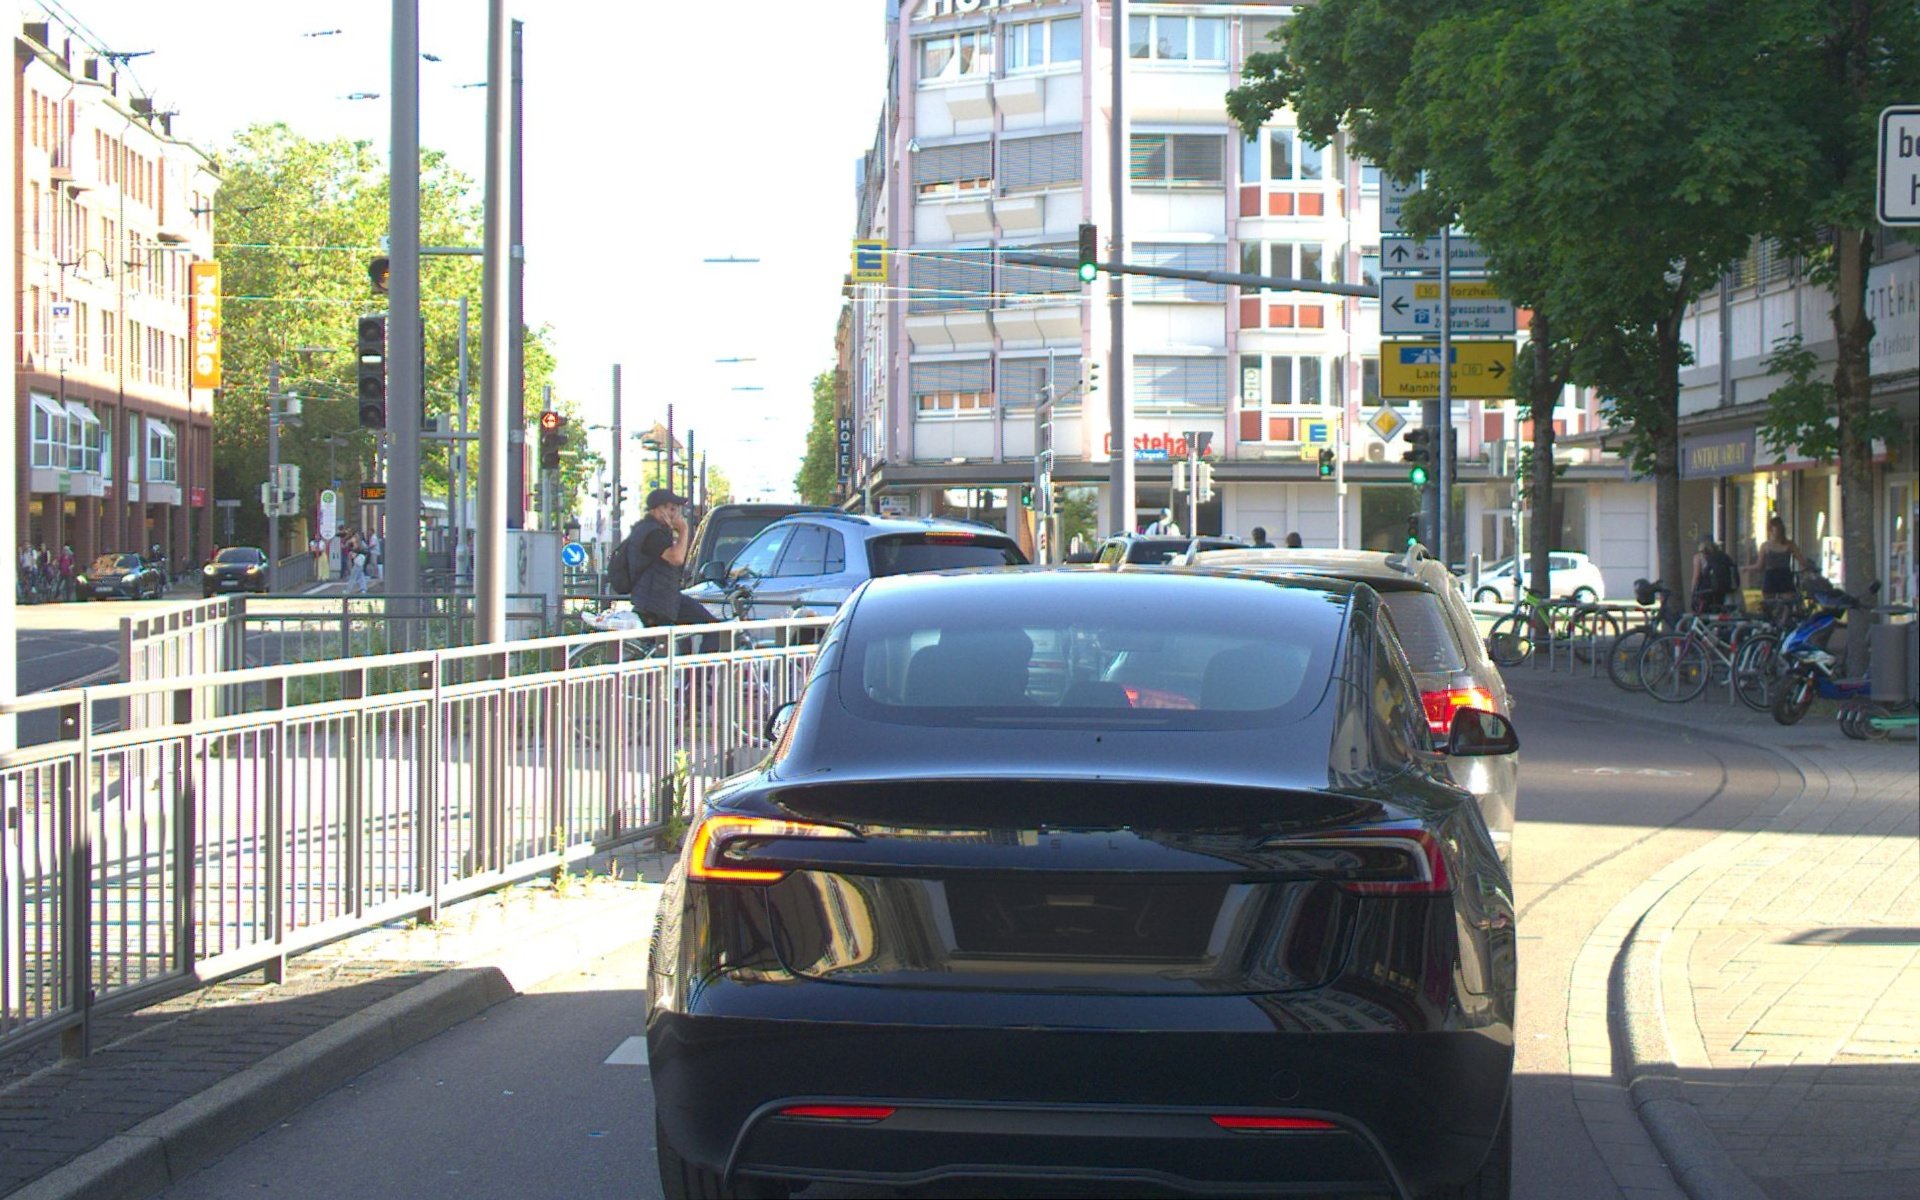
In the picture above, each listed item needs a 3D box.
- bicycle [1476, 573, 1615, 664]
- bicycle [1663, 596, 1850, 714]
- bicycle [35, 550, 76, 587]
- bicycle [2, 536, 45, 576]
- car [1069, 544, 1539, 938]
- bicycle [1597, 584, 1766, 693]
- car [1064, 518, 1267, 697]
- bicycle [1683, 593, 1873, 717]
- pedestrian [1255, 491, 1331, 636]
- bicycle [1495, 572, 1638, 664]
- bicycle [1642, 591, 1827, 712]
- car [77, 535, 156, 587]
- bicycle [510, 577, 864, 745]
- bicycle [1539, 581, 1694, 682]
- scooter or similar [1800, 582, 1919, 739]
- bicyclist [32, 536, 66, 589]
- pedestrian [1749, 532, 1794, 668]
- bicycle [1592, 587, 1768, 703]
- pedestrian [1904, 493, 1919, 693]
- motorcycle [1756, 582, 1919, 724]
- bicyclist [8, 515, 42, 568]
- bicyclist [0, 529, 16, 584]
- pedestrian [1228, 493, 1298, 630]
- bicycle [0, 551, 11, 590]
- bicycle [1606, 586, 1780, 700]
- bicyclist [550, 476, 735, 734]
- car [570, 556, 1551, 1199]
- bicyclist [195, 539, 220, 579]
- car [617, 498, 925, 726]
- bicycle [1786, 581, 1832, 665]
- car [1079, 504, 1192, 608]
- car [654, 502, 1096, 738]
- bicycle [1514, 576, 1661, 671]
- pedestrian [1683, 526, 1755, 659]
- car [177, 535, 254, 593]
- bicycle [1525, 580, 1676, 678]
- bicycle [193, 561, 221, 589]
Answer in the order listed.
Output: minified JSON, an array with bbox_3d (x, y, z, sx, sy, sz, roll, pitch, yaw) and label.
[{"bbox_3d":[7.228,0.224,42.476,1.650,1.095,0.350,1,0,1],"label":"bicycle"},{"bbox_3d":[7.282,0.506,31.445,1.649,1.057,0.350,1,0,-10],"label":"bicycle"},{"bbox_3d":[-27.200,-0.961,103.413,0.529,1.085,2.284,1,1,1],"label":"bicycle"},{"bbox_3d":[-27.349,-1.276,100.415,0.529,1.085,2.284,4,-1,1],"label":"bicycle"},{"bbox_3d":[1.501,0.498,15.012,1.751,1.449,3.999,1,1,6],"label":"car"},{"bbox_3d":[7.414,0.393,35.344,1.650,1.095,0.350,1,0,1],"label":"bicycle"},{"bbox_3d":[2.125,0.053,36.431,1.598,1.772,3.981,1,1,-4],"label":"car"},{"bbox_3d":[7.379,0.500,31.023,1.649,1.095,0.350,1,0,-10],"label":"bicycle"},{"bbox_3d":[4.671,-0.507,48.280,0.921,2.007,0.972,1,0,-1],"label":"pedestrian"},{"bbox_3d":[7.295,0.215,41.382,1.650,1.095,0.350,0,1,1],"label":"bicycle"},{"bbox_3d":[7.177,0.480,31.869,1.649,1.095,0.350,1,0,-10],"label":"bicycle"},{"bbox_3d":[-25.197,-1.166,102.801,1.710,1.521,4.037,1,1,-5],"label":"car"},{"bbox_3d":[-1.764,0.386,22.502,2.329,1.050,0.631,0,1,-38],"label":"bicycle"},{"bbox_3d":[7.306,0.346,38.296,1.650,1.095,0.350,1,0,1],"label":"bicycle"},{"bbox_3d":[7.553,0.476,27.185,1.644,1.211,0.644,1,0,30],"label":"scooter or similar"},{"bbox_3d":[-27.238,-1.124,102.798,0.784,1.558,0.746,0,1,2],"label":"bicyclist"},{"bbox_3d":[10.281,-0.002,43.562,0.526,1.704,0.403,1,0,13],"label":"pedestrian"},{"bbox_3d":[6.996,0.437,33.396,1.649,1.095,0.350,1,0,-10],"label":"bicycle"},{"bbox_3d":[9.986,-0.069,34.833,0.662,2.007,0.579,1,0,2],"label":"pedestrian"},{"bbox_3d":[7.709,0.447,29.259,1.707,1.169,0.541,1,0,-2],"label":"motorcycle"},{"bbox_3d":[-27.372,-1.708,100.634,0.784,1.558,0.746,0,1,2],"label":"bicyclist"},{"bbox_3d":[-27.333,-1.249,97.700,0.784,1.558,0.746,1,0,-2],"label":"bicyclist"},{"bbox_3d":[4.514,-0.572,51.310,0.921,2.007,0.972,1,0,-1],"label":"pedestrian"},{"bbox_3d":[-27.354,-0.835,97.147,0.537,1.085,2.225,1,1,-2],"label":"bicycle"},{"bbox_3d":[7.242,0.424,33.963,1.649,1.095,0.350,1,0,-10],"label":"bicycle"},{"bbox_3d":[-2.057,0.024,22.215,0.758,1.623,0.978,0,1,-39],"label":"bicyclist"},{"bbox_3d":[0.330,0.638,8.454,1.829,1.450,3.999,1,1,4],"label":"car"},{"bbox_3d":[-29.360,-1.602,134.210,0.784,1.558,0.746,1,0,2],"label":"bicyclist"},{"bbox_3d":[-1.855,0.081,32.453,1.993,2.007,4.001,0,1,-17],"label":"car"},{"bbox_3d":[10.713,0.283,43.374,0.332,1.030,1.256,1,0,4],"label":"bicycle"},{"bbox_3d":[3.031,-0.759,60.081,1.719,1.745,3.754,1,1,-1],"label":"car"},{"bbox_3d":[-0.748,0.119,26.432,1.883,1.656,4.159,1,1,-25],"label":"car"},{"bbox_3d":[7.358,0.272,40.336,1.650,1.095,0.350,1,0,1],"label":"bicycle"},{"bbox_3d":[9.586,-0.103,43.432,0.699,1.656,0.777,1,0,-1],"label":"pedestrian"},{"bbox_3d":[-22.952,-1.103,106.054,1.697,1.725,3.707,1,1,-3],"label":"car"},{"bbox_3d":[7.326,0.333,39.323,1.650,1.095,0.350,1,0,1],"label":"bicycle"},{"bbox_3d":[-29.374,-0.980,134.120,0.529,1.085,2.224,1,1,1],"label":"bicycle"}]
